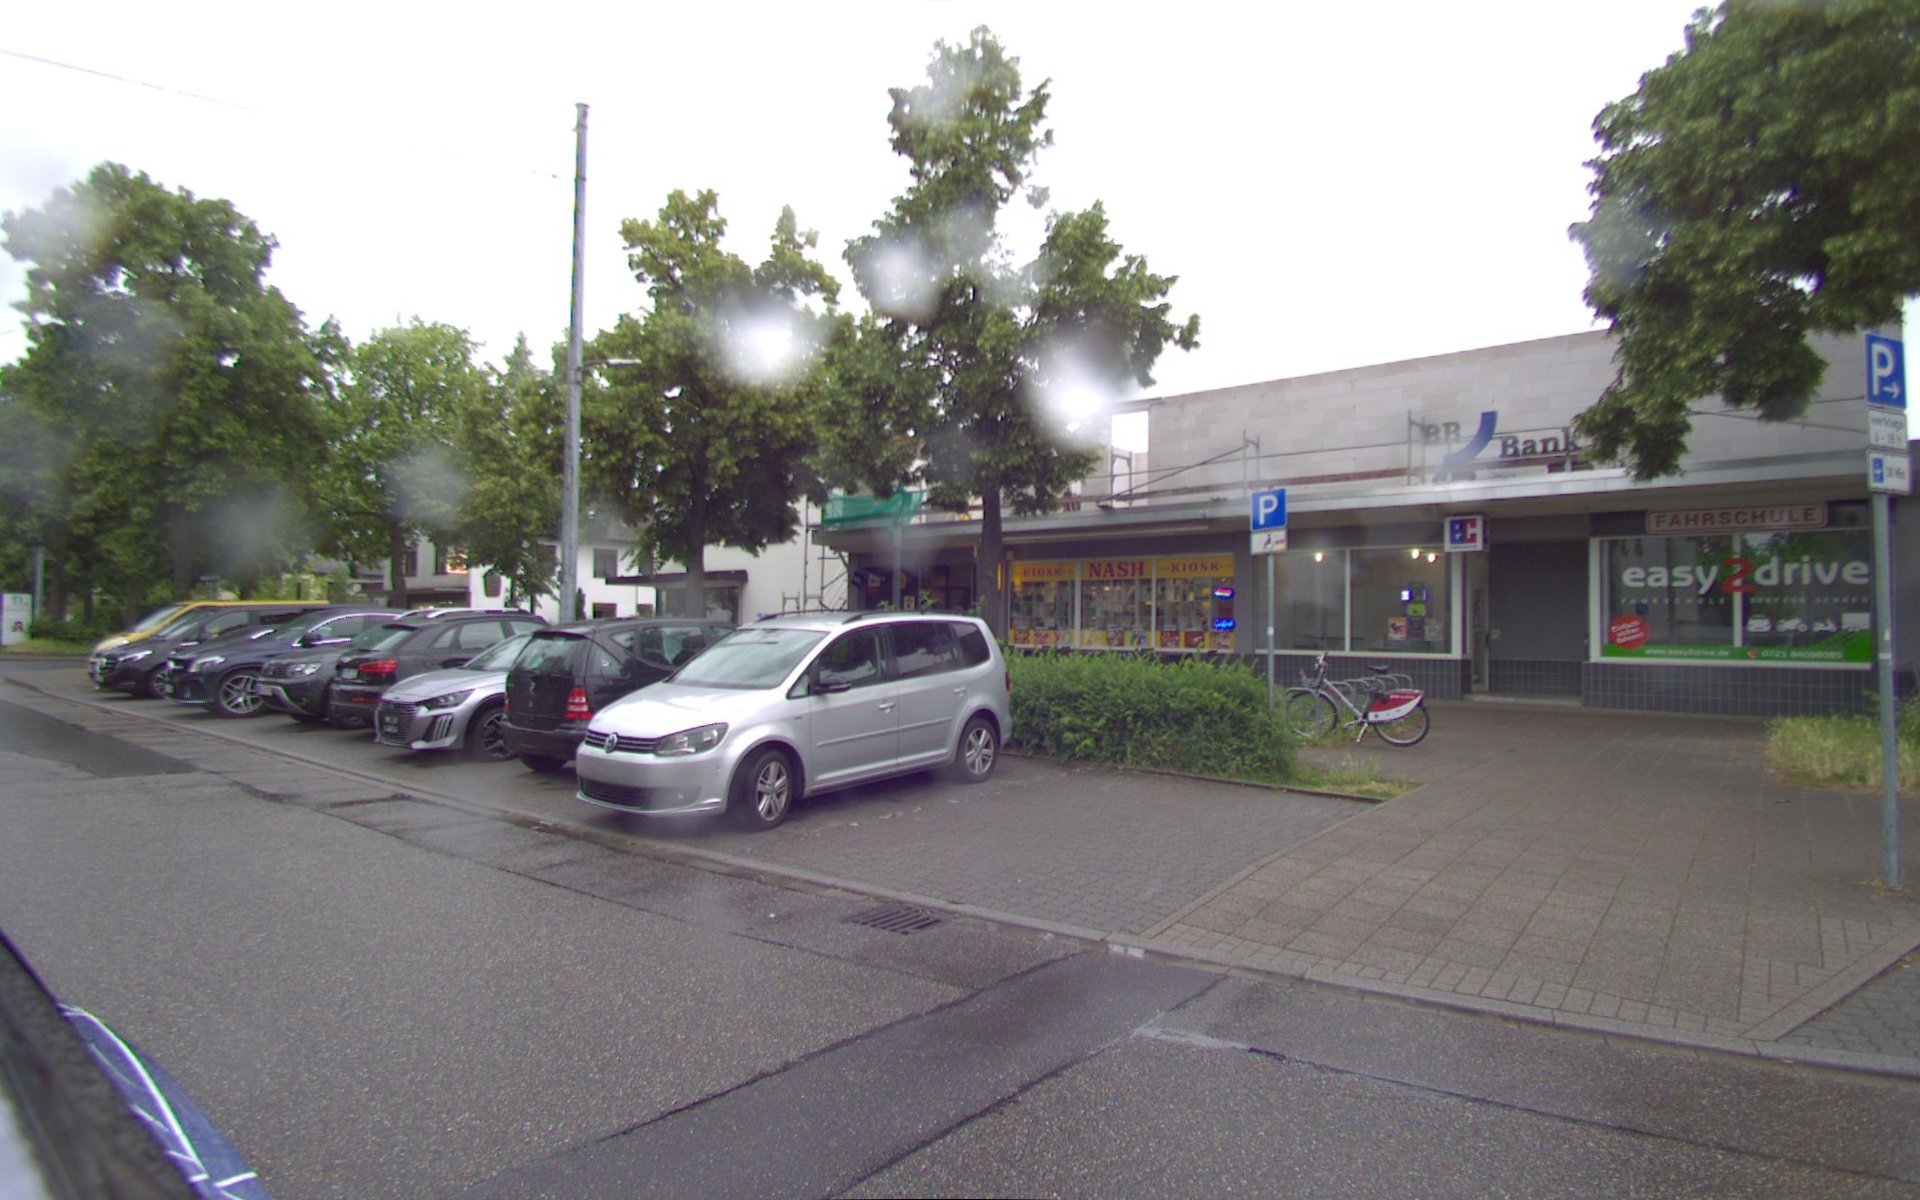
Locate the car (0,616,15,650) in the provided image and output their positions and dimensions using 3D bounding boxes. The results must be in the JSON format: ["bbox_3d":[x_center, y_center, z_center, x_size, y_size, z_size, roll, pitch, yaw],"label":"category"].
[{"bbox_3d":[-49.604,1.668,50.018,1.997,1.698,3.950,-1,0,37],"label":"car"}]

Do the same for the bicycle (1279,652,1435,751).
[{"bbox_3d":[4.822,1.212,12.336,1.739,1.115,0.316,-1,0,25],"label":"bicycle"}]

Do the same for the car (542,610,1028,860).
[{"bbox_3d":[-1.285,0.927,9.005,1.713,1.647,4.231,-1,0,38],"label":"car"}]

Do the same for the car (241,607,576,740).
[{"bbox_3d":[-8.331,0.989,15.626,1.713,1.740,4.231,-1,0,38],"label":"car"}]

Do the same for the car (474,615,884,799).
[{"bbox_3d":[-2.866,0.982,11.154,1.633,1.577,4.231,-1,0,38],"label":"car"}]

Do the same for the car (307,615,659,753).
[{"bbox_3d":[-6.571,1.039,14.356,1.713,1.607,4.231,-1,0,38],"label":"car"}]

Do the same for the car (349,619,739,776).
[{"bbox_3d":[-4.957,1.039,12.592,1.713,1.544,4.231,-1,0,38],"label":"car"}]

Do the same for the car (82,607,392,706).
[{"bbox_3d":[-15.144,1.077,21.516,1.713,1.813,5.114,-1,0,38],"label":"car"}]

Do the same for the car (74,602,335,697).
[{"bbox_3d":[-17.411,1.045,23.557,1.713,1.973,4.600,-1,0,38],"label":"car"}]

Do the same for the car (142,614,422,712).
[{"bbox_3d":[-13.047,1.122,19.717,1.713,1.639,4.231,-1,0,38],"label":"car"}]

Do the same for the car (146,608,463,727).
[{"bbox_3d":[-11.000,1.017,17.258,1.713,1.740,4.231,-1,0,38],"label":"car"}]
